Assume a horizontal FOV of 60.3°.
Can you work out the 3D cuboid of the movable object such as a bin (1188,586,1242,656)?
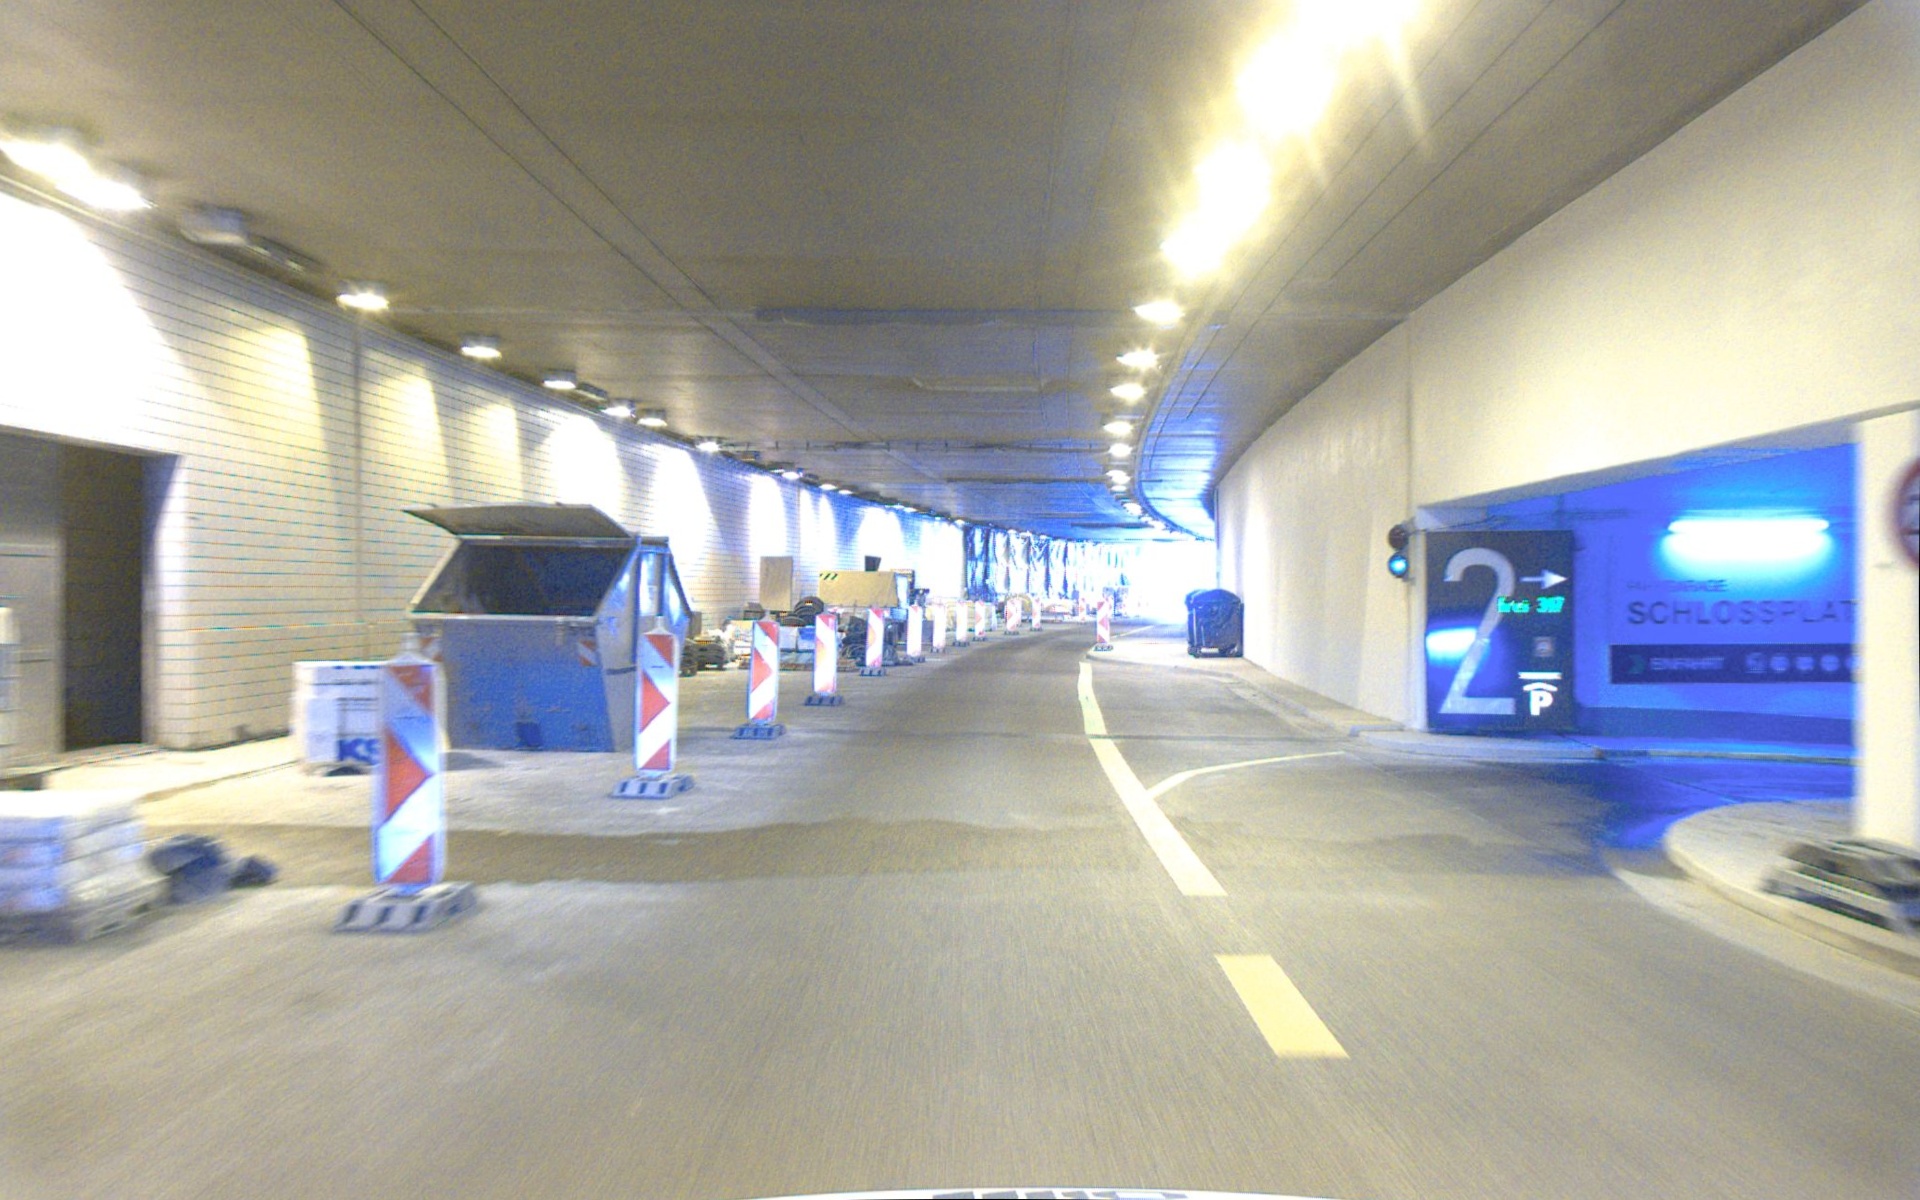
[{"bbox_3d":[5.538,0.454,36.007,1.074,1.470,1.323,1,0,5],"label":"movable object such as a bin"}]

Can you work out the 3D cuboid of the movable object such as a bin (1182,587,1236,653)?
[{"bbox_3d":[5.618,0.448,37.424,1.121,1.470,1.364,1,0,5],"label":"movable object such as a bin"}]

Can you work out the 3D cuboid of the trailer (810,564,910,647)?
[{"bbox_3d":[-2.544,0.138,42.949,2.162,2.049,3.468,1,0,3],"label":"trailer"}]
